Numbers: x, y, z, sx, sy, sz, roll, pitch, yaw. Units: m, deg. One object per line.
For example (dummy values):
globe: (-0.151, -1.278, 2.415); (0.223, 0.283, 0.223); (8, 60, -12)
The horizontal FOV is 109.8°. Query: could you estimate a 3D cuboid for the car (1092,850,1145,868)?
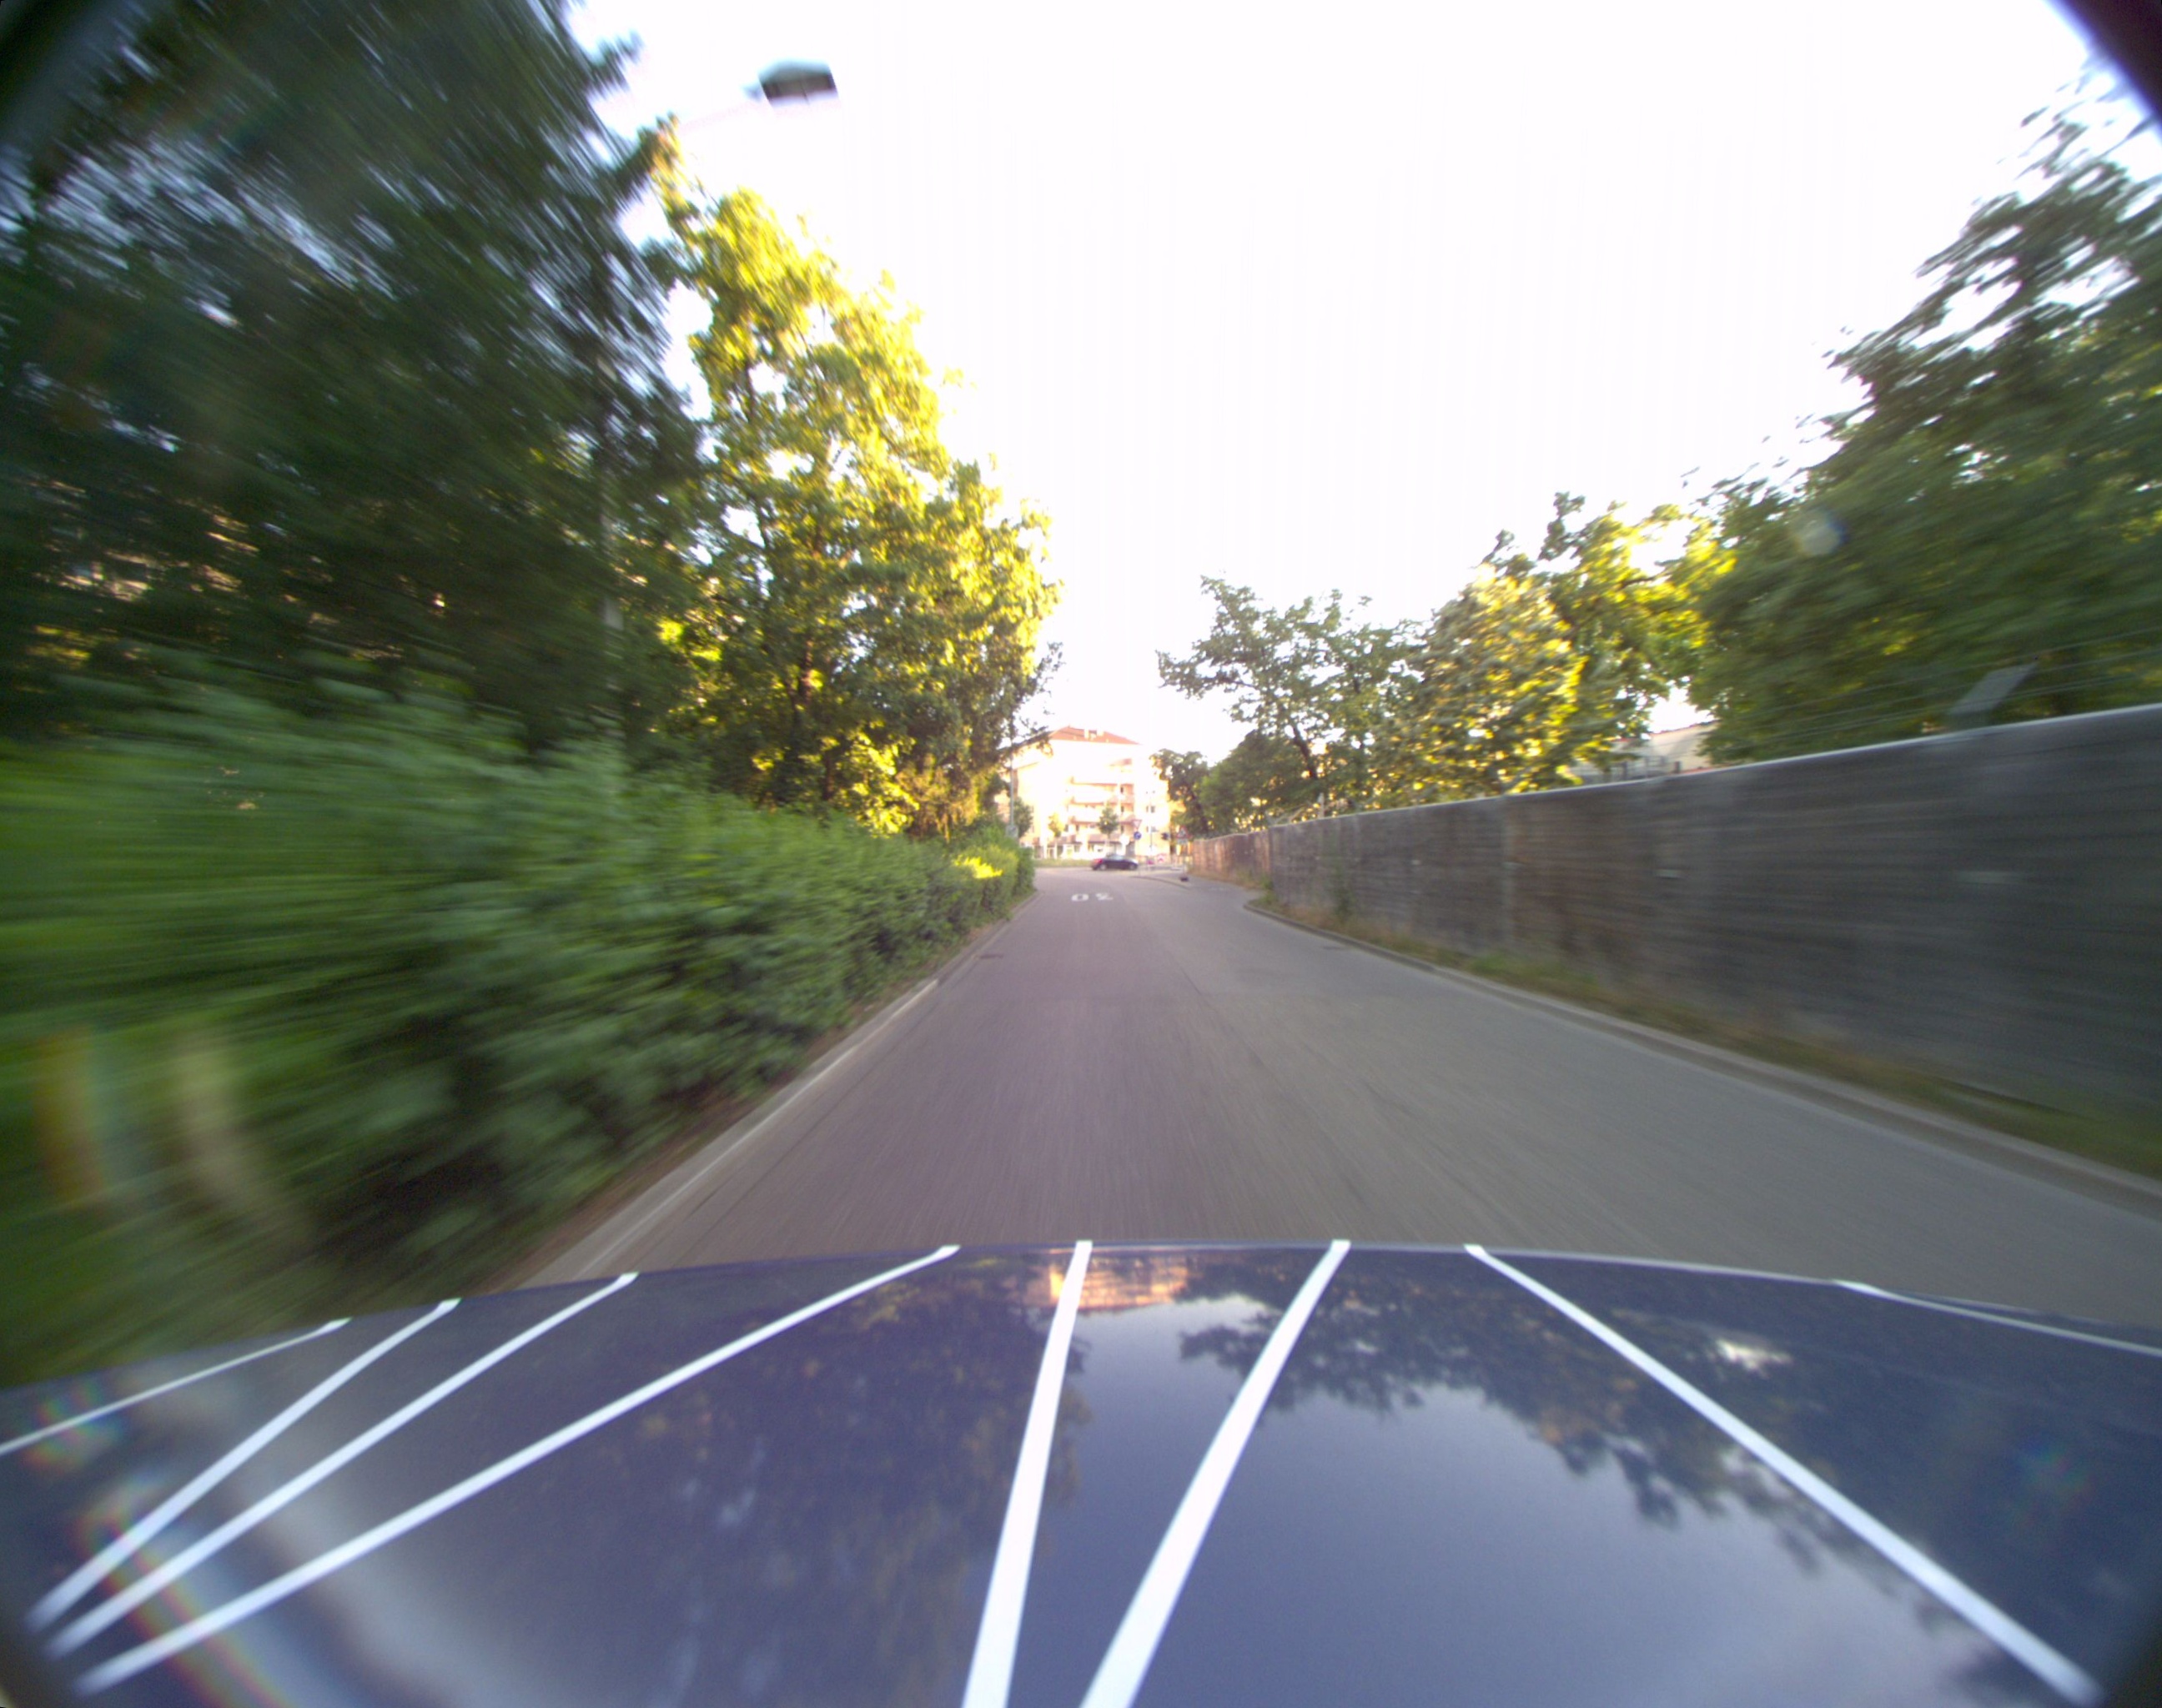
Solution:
car: (3.028, 0.411, 61.617); (3.912, 1.380, 1.797); (-1, 1, -20)
